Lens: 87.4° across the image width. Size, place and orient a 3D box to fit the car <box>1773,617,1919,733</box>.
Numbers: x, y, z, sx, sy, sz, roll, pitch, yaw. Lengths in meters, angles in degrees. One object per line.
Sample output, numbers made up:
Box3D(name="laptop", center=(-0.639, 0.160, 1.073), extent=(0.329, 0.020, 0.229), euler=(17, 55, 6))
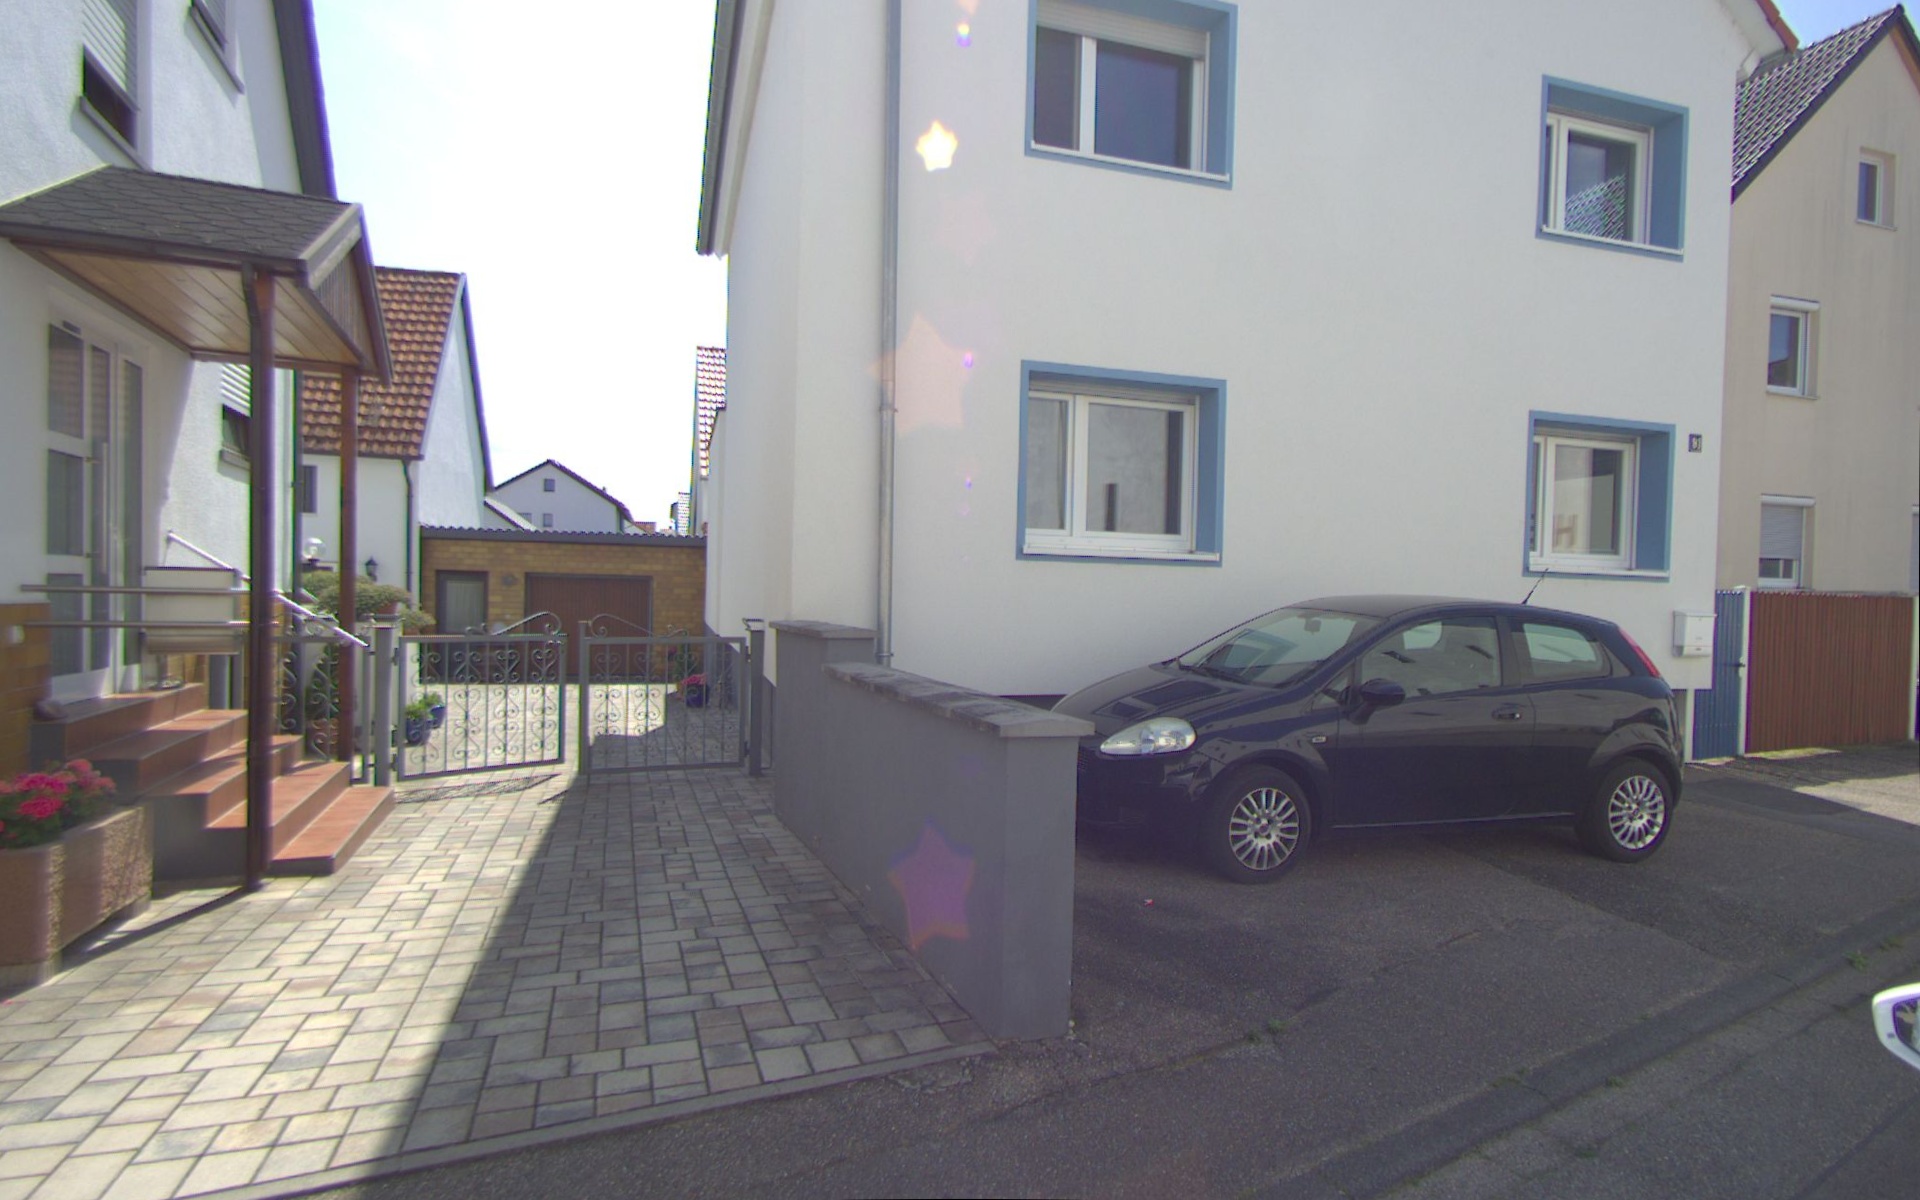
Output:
Box3D(name="car", center=(13.706, 1.010, 13.796), extent=(4.397, 1.367, 1.769), euler=(2, 1, -17))

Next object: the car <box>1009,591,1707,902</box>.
Box3D(name="car", center=(2.329, 0.718, 6.102), extent=(3.725, 1.474, 1.637), euler=(1, 1, -17))
